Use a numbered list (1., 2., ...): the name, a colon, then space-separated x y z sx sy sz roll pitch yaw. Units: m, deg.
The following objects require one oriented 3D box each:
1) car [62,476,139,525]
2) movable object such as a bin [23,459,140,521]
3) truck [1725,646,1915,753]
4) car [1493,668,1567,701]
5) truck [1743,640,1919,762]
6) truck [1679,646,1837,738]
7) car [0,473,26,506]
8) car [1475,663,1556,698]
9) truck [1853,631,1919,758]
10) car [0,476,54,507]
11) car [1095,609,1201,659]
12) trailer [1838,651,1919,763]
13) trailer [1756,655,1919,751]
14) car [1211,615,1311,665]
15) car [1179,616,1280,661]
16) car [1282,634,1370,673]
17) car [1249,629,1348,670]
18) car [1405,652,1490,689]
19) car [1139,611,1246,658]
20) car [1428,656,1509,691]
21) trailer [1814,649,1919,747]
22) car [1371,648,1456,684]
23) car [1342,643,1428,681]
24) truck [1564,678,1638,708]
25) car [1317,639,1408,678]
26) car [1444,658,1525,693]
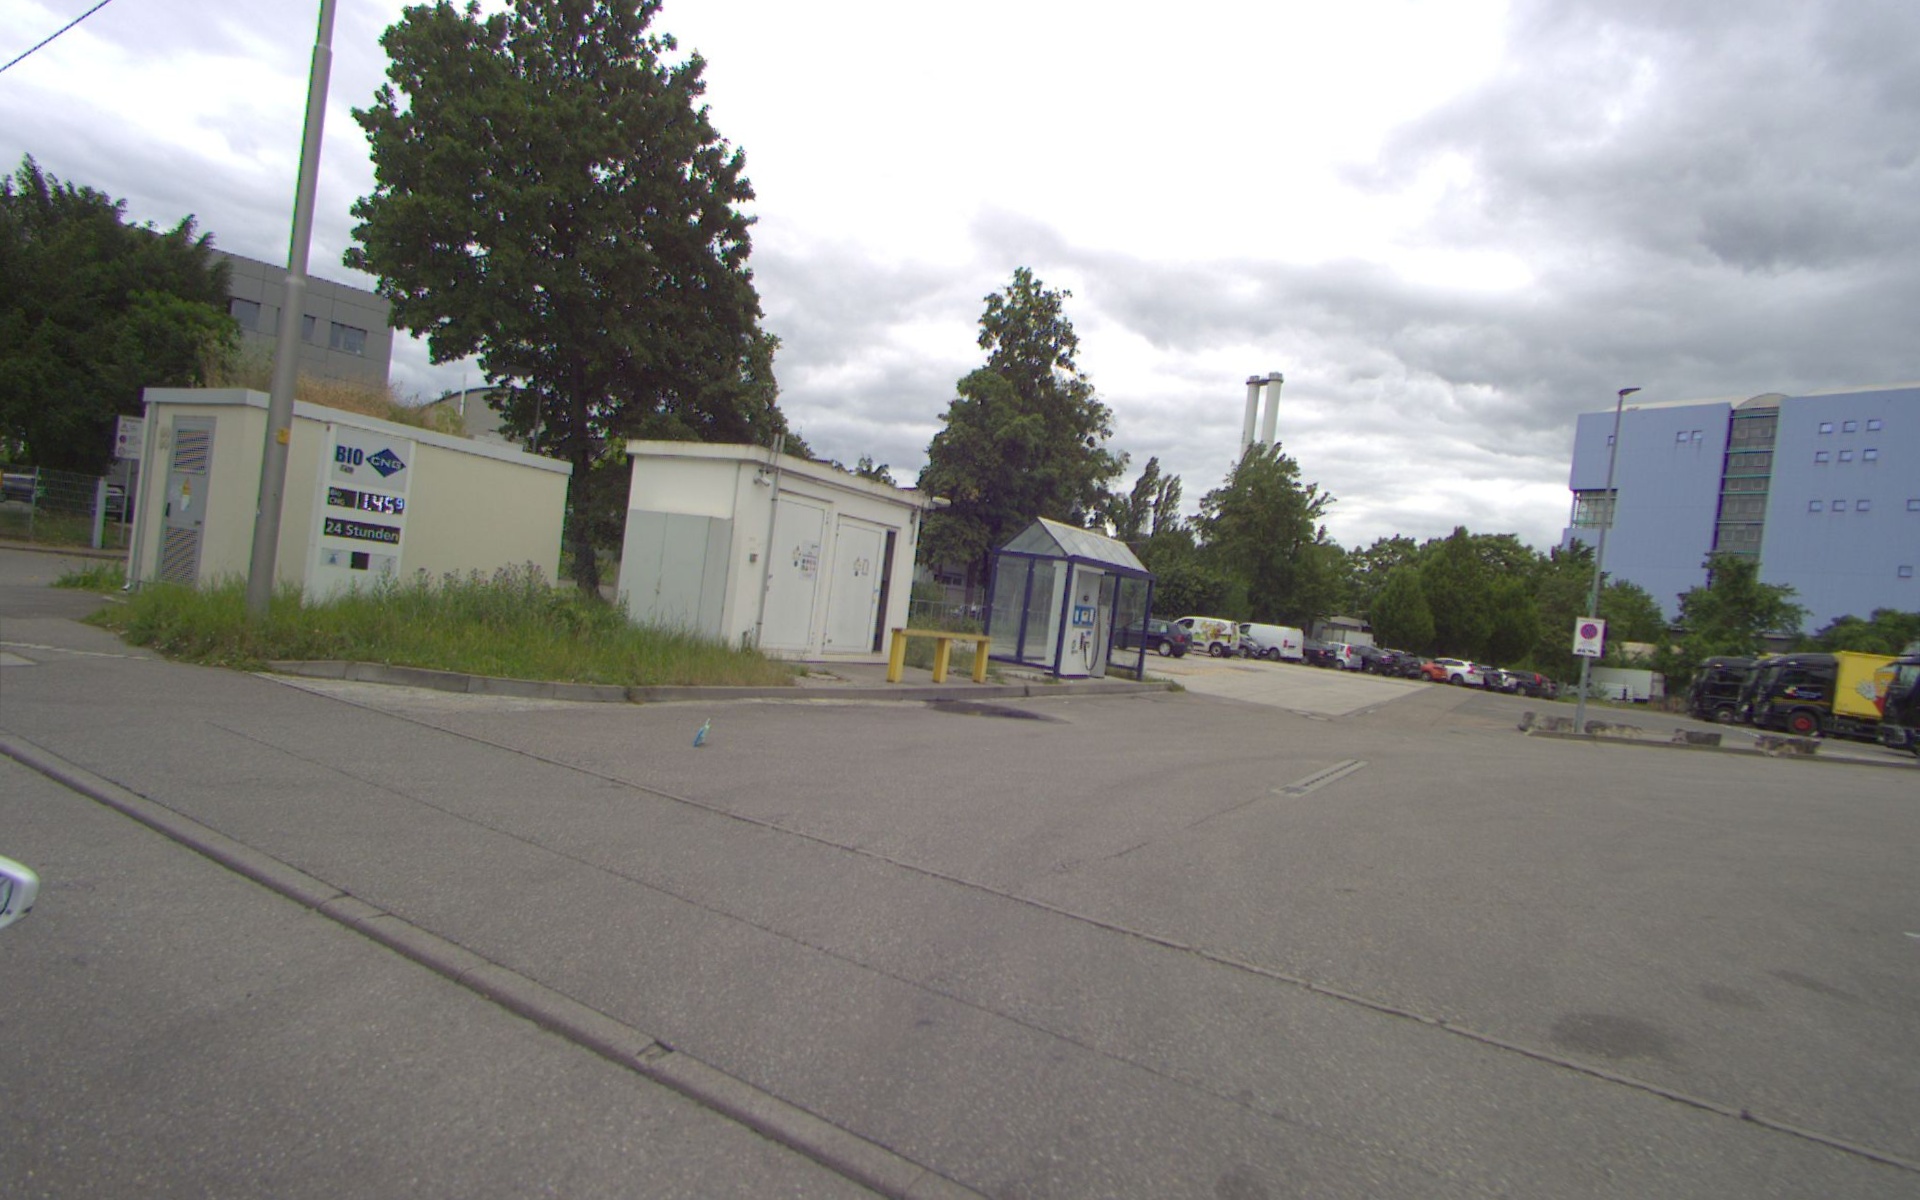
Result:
1. car: -35.056 -4.069 40.997 4.383 1.588 1.987 8 3 45
2. movable object such as a bin: -42.260 -5.260 48.430 1.926 2.334 3.977 8 1 44
3. truck: 39.979 4.529 47.052 5.938 3.964 2.693 7 1 30
4. car: 39.850 5.915 70.397 1.809 1.672 3.989 6 1 -37
5. truck: 38.179 4.307 43.511 5.938 4.316 3.047 7 1 30
6. truck: 43.043 4.905 54.505 5.938 3.964 2.693 7 1 30
7. car: -49.592 -5.753 49.685 4.614 1.492 1.996 6 0 -10
8. car: 37.720 5.467 68.413 1.969 1.672 4.297 6 1 -37
9. truck: 33.291 3.372 32.337 5.938 3.964 2.960 7 1 30
10. car: -61.468 -7.125 64.301 4.796 1.553 2.012 8 0 -23
11. car: 7.766 1.383 41.594 3.820 1.549 1.734 7 1 32
12. trailer: 45.127 5.219 39.404 15.458 4.314 3.024 7 1 30
13. trailer: 49.224 5.698 50.869 13.457 3.964 2.693 7 1 30
14. car: 16.658 2.191 55.910 2.083 2.129 4.852 6 1 -37
15. car: 14.435 2.065 54.116 2.085 1.758 4.828 6 1 -39
16. car: 21.314 3.080 58.695 1.892 1.672 4.352 6 1 -37
17. car: 19.162 2.773 57.159 2.083 1.672 4.914 6 1 -37
18. car: 30.923 4.455 63.930 1.885 1.672 4.361 6 1 -37
19. car: 11.326 1.670 49.143 4.575 1.666 1.964 7 1 30
20. car: 33.221 4.793 65.826 1.843 1.672 4.263 6 1 -37
21. trailer: 48.010 5.226 42.367 17.765 3.964 2.693 7 1 30
22. car: 28.438 4.149 63.196 1.878 1.613 4.322 6 1 -37
23. car: 25.945 3.753 61.510 1.947 1.672 4.283 6 1 -37
24. truck: 58.939 8.523 92.621 1.982 1.953 5.237 6 1 -36
25. car: 23.900 3.447 59.876 1.988 1.672 4.555 6 1 -37
26. car: 35.146 5.074 67.534 1.935 1.672 4.286 6 1 -37
